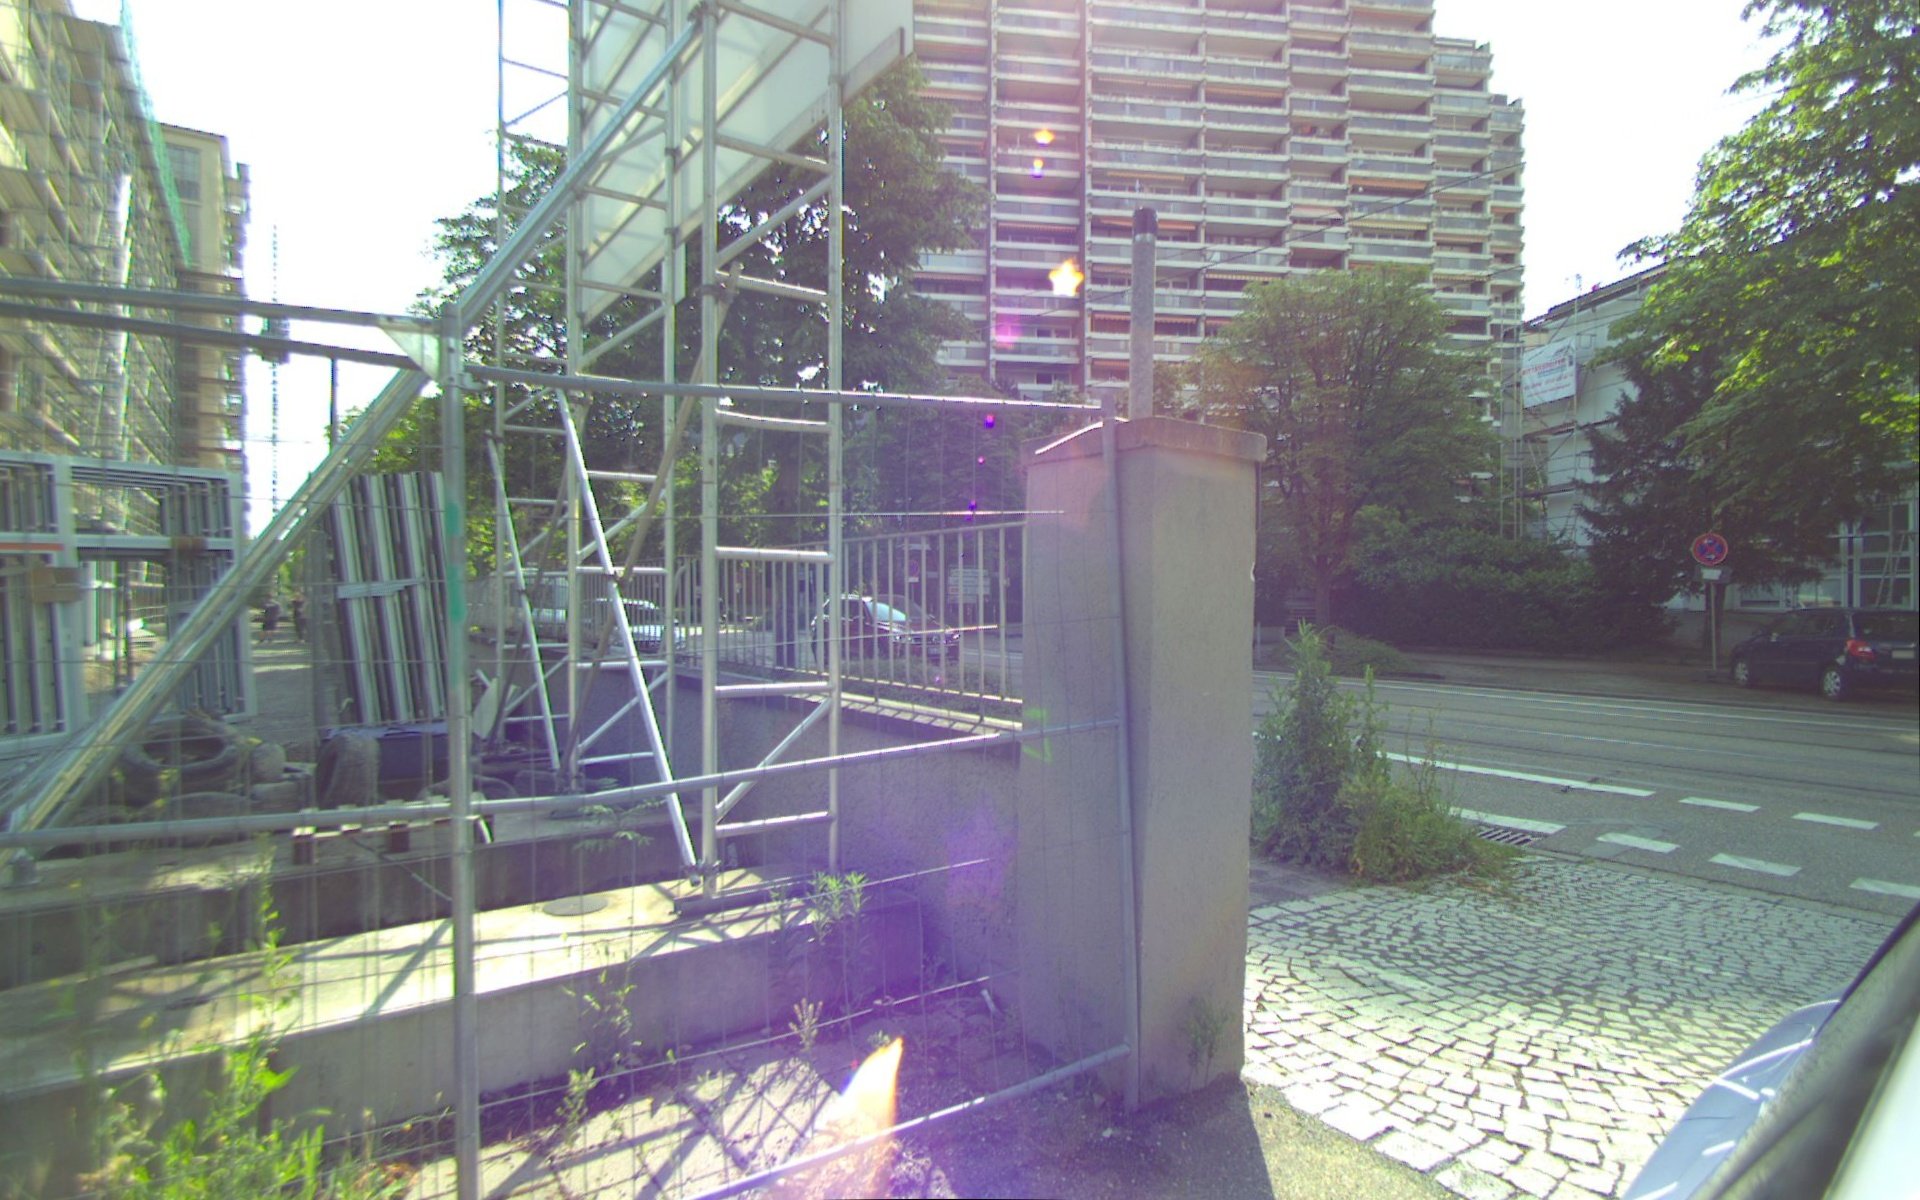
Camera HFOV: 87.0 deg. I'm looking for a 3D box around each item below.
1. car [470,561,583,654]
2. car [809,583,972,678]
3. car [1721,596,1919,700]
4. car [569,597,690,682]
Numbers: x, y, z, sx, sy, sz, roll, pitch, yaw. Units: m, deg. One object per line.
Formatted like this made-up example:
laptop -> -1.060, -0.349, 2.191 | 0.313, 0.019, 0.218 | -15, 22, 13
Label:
car -> -13.609, 0.267, 31.533 | 2.089, 2.600, 5.918 | 1, -2, -34
car -> -1.593, 0.568, 21.838 | 1.648, 1.631, 3.973 | 0, 4, -35
car -> 14.940, 0.726, 17.152 | 1.733, 1.480, 3.985 | -2, 0, 13
car -> -7.238, 0.830, 21.873 | 1.735, 1.628, 4.462 | 0, -2, -28
